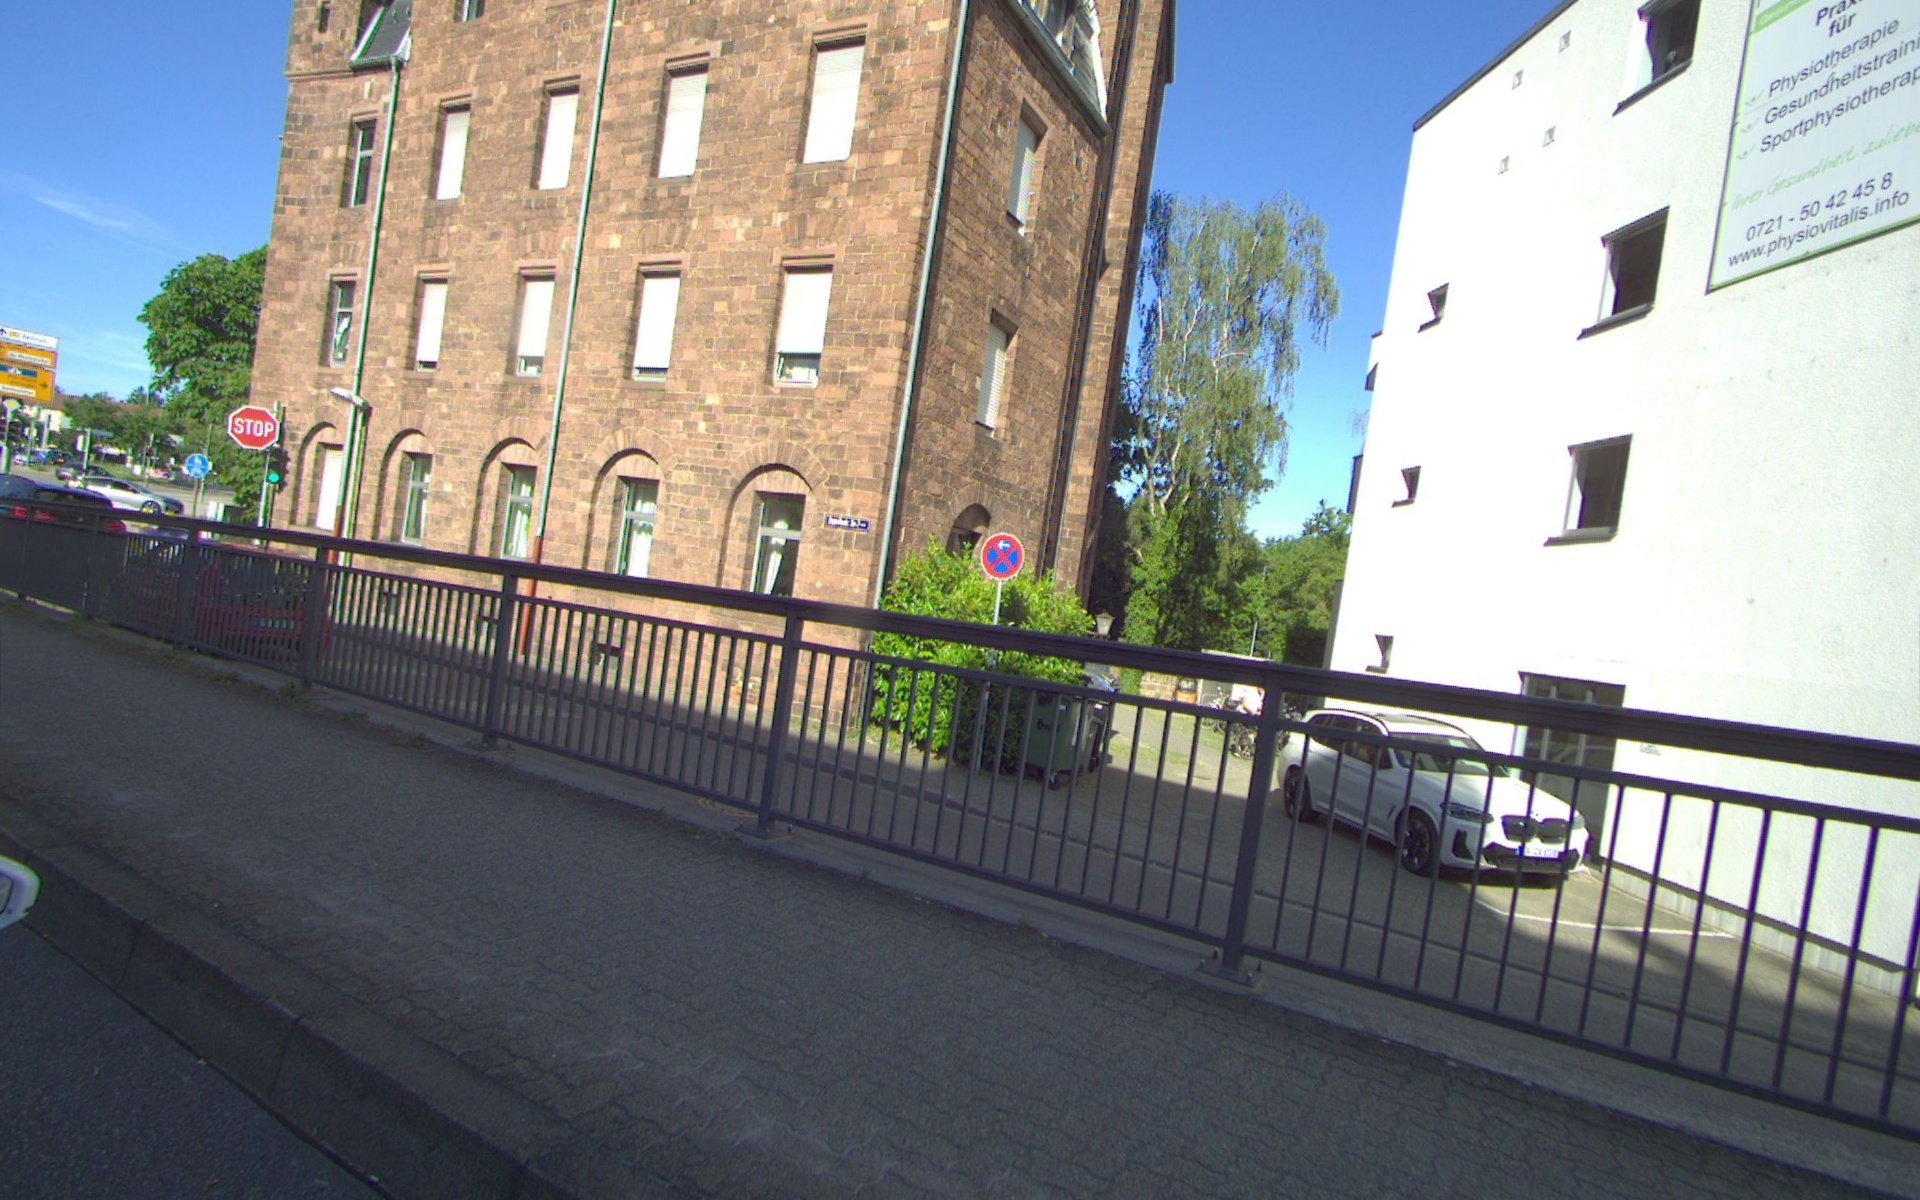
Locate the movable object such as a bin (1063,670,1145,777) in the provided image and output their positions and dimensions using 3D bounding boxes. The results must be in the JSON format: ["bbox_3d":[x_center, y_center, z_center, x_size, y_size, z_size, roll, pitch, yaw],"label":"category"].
[{"bbox_3d":[2.399,2.019,16.666,1.009,1.539,1.007,10,0,14],"label":"movable object such as a bin"}]

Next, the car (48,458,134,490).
[{"bbox_3d":[-61.470,-8.861,71.254,1.962,1.459,4.294,9,1,9],"label":"car"}]

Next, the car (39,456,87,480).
[{"bbox_3d":[-82.310,-12.094,92.357,1.860,1.598,3.978,8,1,-22],"label":"car"}]

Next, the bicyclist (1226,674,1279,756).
[{"bbox_3d":[6.366,2.501,21.950,0.684,1.627,0.687,9,0,-5],"label":"bicyclist"}]

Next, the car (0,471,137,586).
[{"bbox_3d":[-18.320,-1.509,19.956,4.227,1.833,1.724,8,-1,33],"label":"car"}]

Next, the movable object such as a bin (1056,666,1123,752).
[{"bbox_3d":[2.644,2.186,20.462,1.009,1.539,1.007,10,0,14],"label":"movable object such as a bin"}]

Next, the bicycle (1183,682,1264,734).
[{"bbox_3d":[7.663,3.141,29.269,2.075,1.174,0.664,8,1,-9],"label":"bicycle"}]

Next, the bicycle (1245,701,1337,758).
[{"bbox_3d":[7.973,3.118,24.256,1.889,1.065,0.664,8,1,-6],"label":"bicycle"}]

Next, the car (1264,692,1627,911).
[{"bbox_3d":[5.966,2.407,13.153,1.814,1.707,4.521,8,0,-9],"label":"car"}]

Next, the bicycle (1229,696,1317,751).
[{"bbox_3d":[7.868,3.087,25.283,1.889,1.065,0.664,8,1,-6],"label":"bicycle"}]

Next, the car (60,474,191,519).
[{"bbox_3d":[-38.377,-4.744,46.398,4.180,1.311,1.986,8,2,-26],"label":"car"}]

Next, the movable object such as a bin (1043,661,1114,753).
[{"bbox_3d":[2.284,2.020,19.272,1.009,1.539,1.007,10,0,14],"label":"movable object such as a bin"}]

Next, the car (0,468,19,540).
[{"bbox_3d":[-25.975,-2.704,26.214,4.238,1.623,1.719,10,1,43],"label":"car"}]

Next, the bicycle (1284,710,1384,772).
[{"bbox_3d":[8.332,3.143,22.453,1.889,1.065,0.664,8,1,-6],"label":"bicycle"}]

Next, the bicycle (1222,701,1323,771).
[{"bbox_3d":[6.640,2.882,21.423,1.806,1.155,0.689,8,2,-5],"label":"bicycle"}]

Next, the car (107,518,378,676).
[{"bbox_3d":[-9.900,-0.056,13.839,3.427,1.540,1.724,10,1,32],"label":"car"}]

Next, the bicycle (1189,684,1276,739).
[{"bbox_3d":[7.405,3.032,27.384,2.075,1.174,0.664,8,1,-9],"label":"bicycle"}]

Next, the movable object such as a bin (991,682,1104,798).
[{"bbox_3d":[1.191,1.854,13.522,1.011,1.307,1.005,10,0,29],"label":"movable object such as a bin"}]

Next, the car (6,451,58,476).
[{"bbox_3d":[-79.892,-11.731,86.655,1.860,1.598,3.978,8,1,-22],"label":"car"}]

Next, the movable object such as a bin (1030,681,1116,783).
[{"bbox_3d":[1.759,2.002,15.485,1.009,1.307,1.007,10,0,14],"label":"movable object such as a bin"}]

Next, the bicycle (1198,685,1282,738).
[{"bbox_3d":[7.906,3.139,28.416,2.075,1.174,0.664,8,1,-9],"label":"bicycle"}]

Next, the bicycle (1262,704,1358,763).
[{"bbox_3d":[8.128,3.098,23.368,1.889,1.065,0.664,8,1,-6],"label":"bicycle"}]

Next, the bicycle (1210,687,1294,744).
[{"bbox_3d":[7.666,3.030,26.451,1.889,1.174,0.664,8,1,-6],"label":"bicycle"}]
